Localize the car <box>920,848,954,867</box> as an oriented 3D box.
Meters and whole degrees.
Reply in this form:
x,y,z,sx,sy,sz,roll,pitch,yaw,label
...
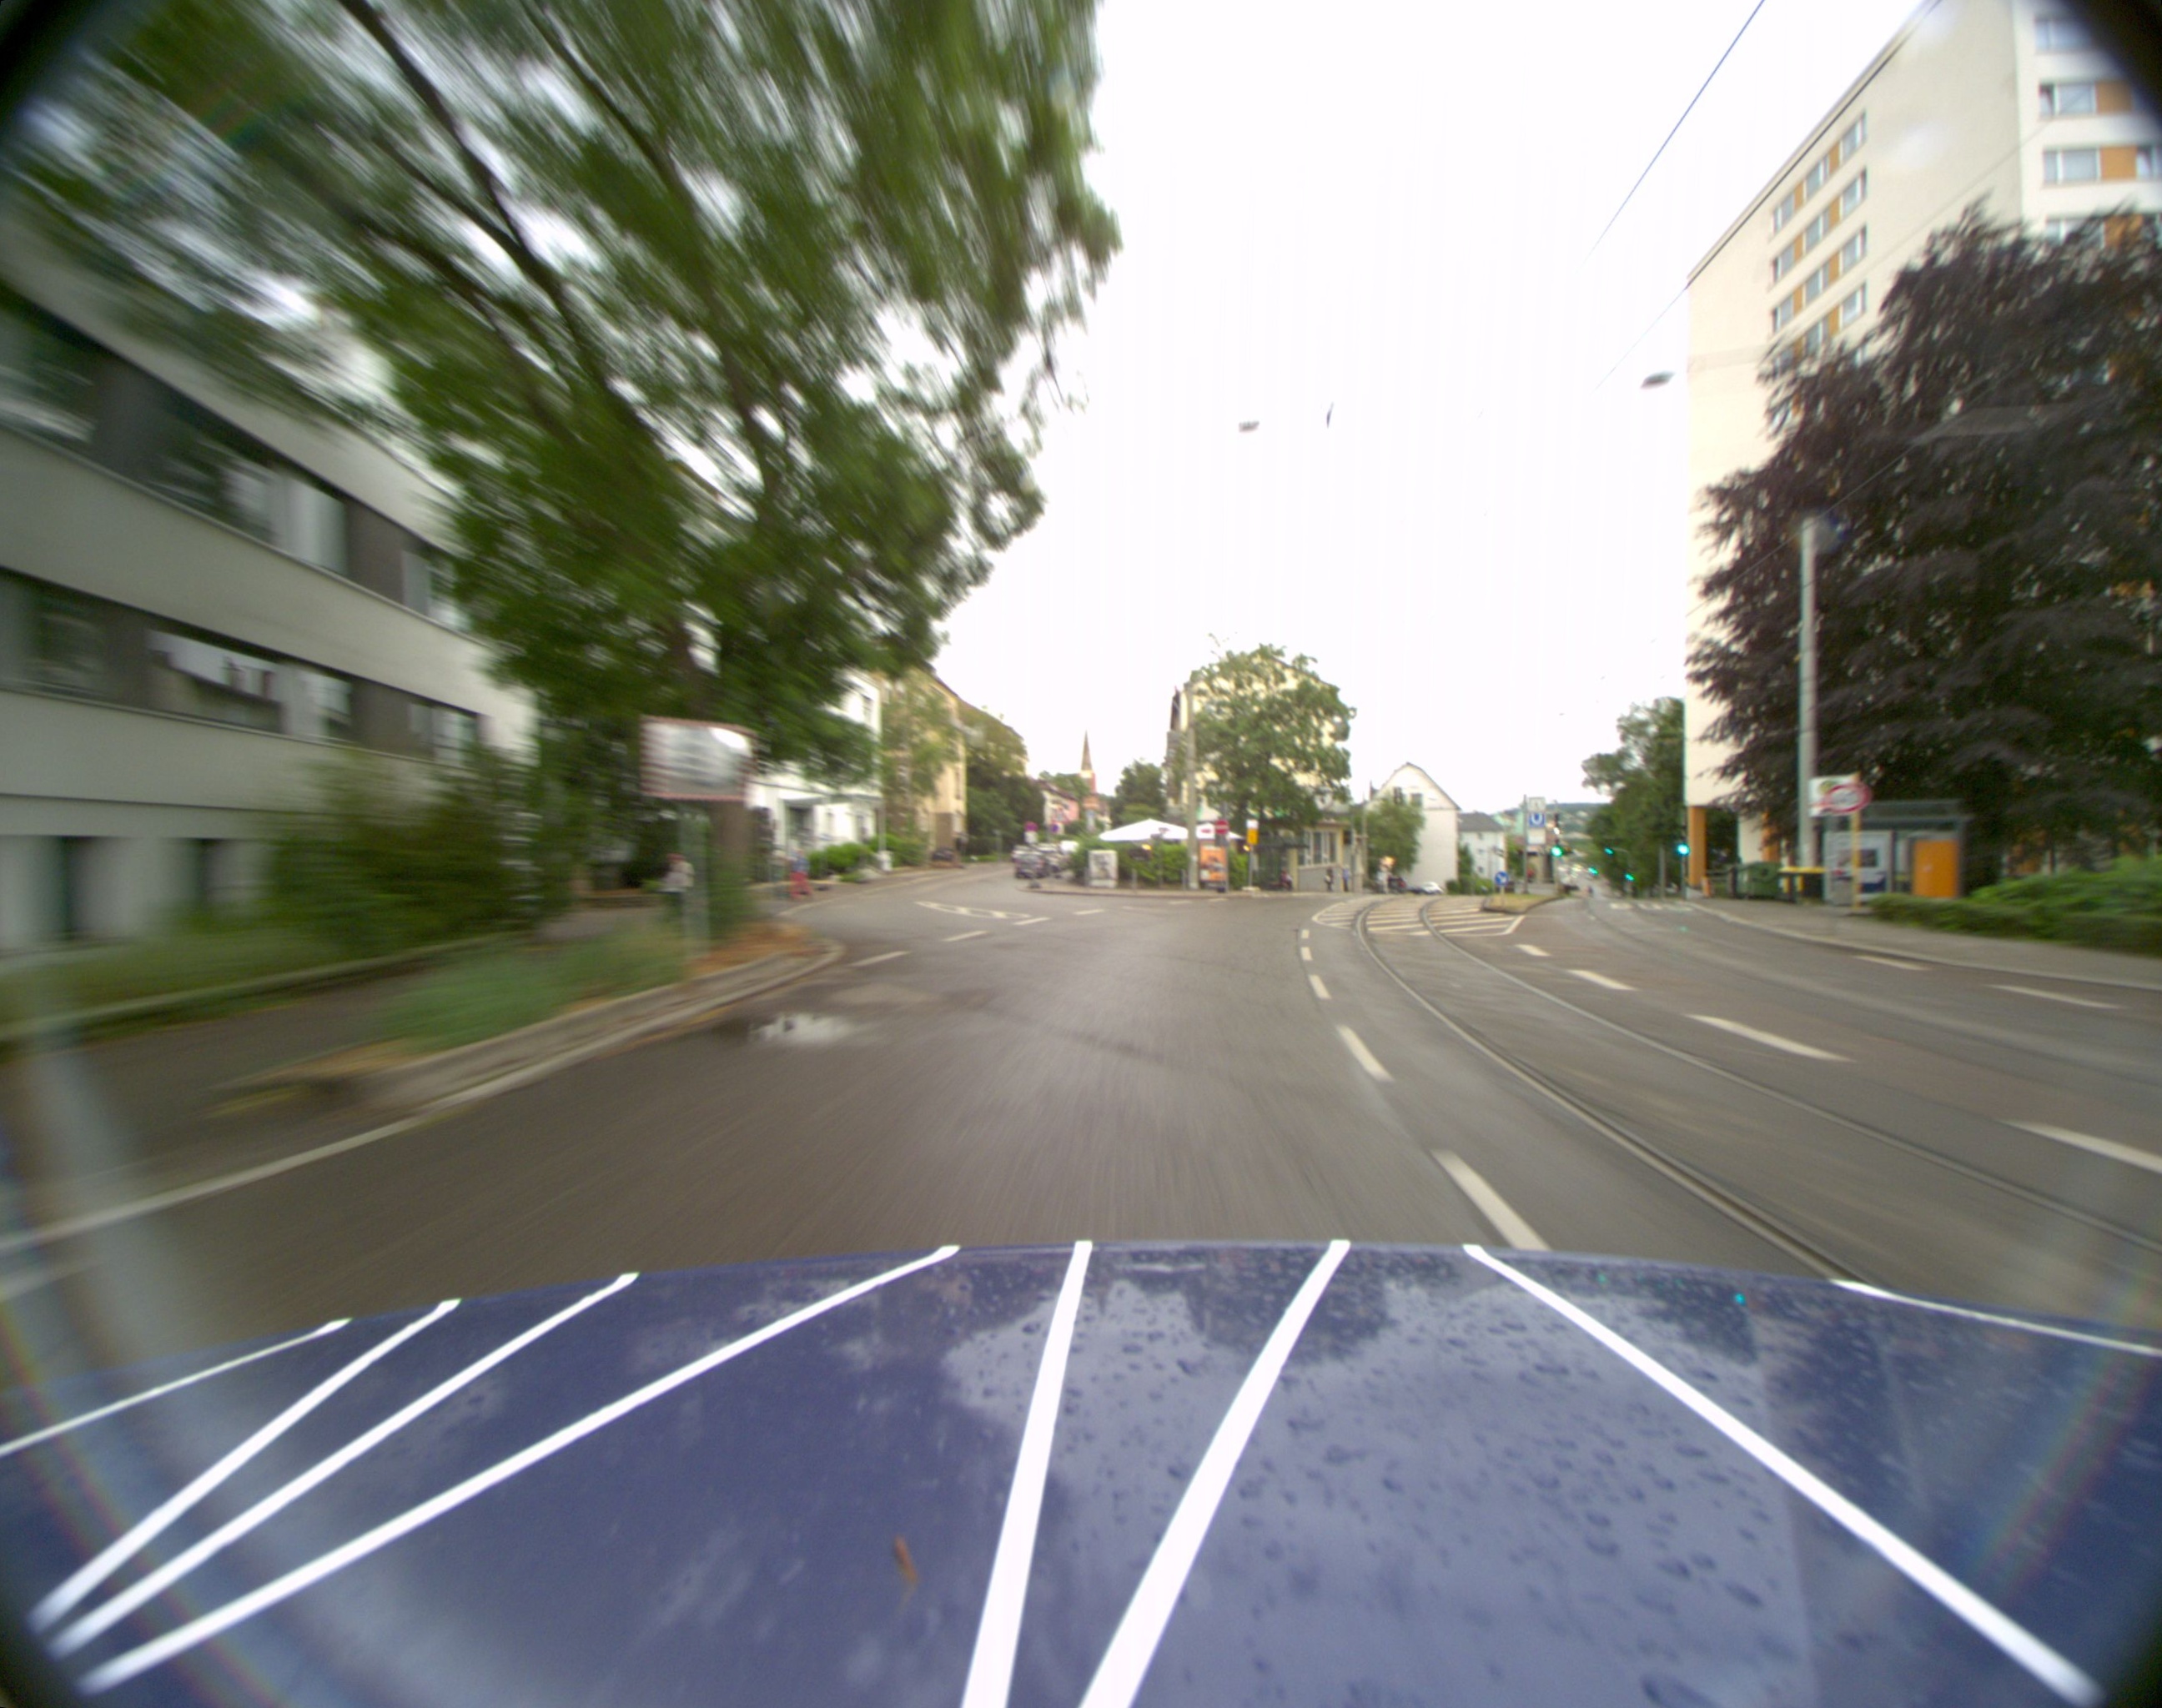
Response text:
x,y,z,sx,sy,sz,roll,pitch,yaw,label
-11.502,0.304,60.825,1.598,1.333,3.638,-1,-3,8,car

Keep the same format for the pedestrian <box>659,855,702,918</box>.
x,y,z,sx,sy,sz,roll,pitch,yaw,label
-11.088,0.907,21.077,0.745,1.689,0.673,3,-3,-5,pedestrian

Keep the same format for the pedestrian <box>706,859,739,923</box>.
x,y,z,sx,sy,sz,roll,pitch,yaw,label
-9.152,0.945,19.409,0.545,1.619,0.602,-1,-2,0,pedestrian

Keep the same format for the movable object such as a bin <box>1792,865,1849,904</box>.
x,y,z,sx,sy,sz,roll,pitch,yaw,label
22.640,0.937,23.285,1.021,1.131,1.346,-3,-3,35,movable object such as a bin

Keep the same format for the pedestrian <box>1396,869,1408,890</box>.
x,y,z,sx,sy,sz,roll,pitch,yaw,label
26.525,2.085,62.812,0.719,1.703,0.610,2,-1,42,pedestrian

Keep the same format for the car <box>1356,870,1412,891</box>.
x,y,z,sx,sy,sz,roll,pitch,yaw,label
27.693,2.396,69.501,4.329,1.664,1.785,3,-1,35,car

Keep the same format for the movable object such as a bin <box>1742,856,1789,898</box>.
x,y,z,sx,sy,sz,roll,pitch,yaw,label
24.096,0.811,26.790,1.021,1.424,1.431,-2,-3,35,movable object such as a bin

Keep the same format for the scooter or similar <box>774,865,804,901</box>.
x,y,z,sx,sy,sz,roll,pitch,yaw,label
-10.856,1.069,28.284,0.463,1.283,1.102,-1,3,10,scooter or similar

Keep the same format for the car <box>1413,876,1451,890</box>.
x,y,z,sx,sy,sz,roll,pitch,yaw,label
41.766,3.389,90.467,3.989,1.459,1.819,0,4,29,car

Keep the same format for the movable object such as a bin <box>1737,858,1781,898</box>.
x,y,z,sx,sy,sz,roll,pitch,yaw,label
25.168,0.907,28.242,1.021,1.424,1.448,-2,-3,35,movable object such as a bin

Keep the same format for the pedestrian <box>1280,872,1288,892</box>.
x,y,z,sx,sy,sz,roll,pitch,yaw,label
10.539,1.442,39.437,0.325,0.989,0.318,3,0,30,pedestrian

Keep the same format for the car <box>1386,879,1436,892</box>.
x,y,z,sx,sy,sz,roll,pitch,yaw,label
37.412,3.602,86.239,4.934,1.428,1.979,-3,-2,34,car

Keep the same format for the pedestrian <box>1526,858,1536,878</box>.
x,y,z,sx,sy,sz,roll,pitch,yaw,label
36.277,1.133,61.226,0.671,1.538,0.773,0,-2,33,pedestrian

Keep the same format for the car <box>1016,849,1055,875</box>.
x,y,z,sx,sy,sz,roll,pitch,yaw,label
-2.646,0.455,44.726,1.692,1.433,3.806,0,0,5,car

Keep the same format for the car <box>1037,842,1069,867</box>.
x,y,z,sx,sy,sz,roll,pitch,yaw,label
-1.845,0.022,51.765,1.692,1.680,3.806,0,0,5,car

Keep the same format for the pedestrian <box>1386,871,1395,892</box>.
x,y,z,sx,sy,sz,roll,pitch,yaw,label
24.698,2.203,60.616,0.579,1.703,0.615,-2,-3,30,pedestrian

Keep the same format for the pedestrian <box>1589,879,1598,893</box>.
x,y,z,sx,sy,sz,roll,pitch,yaw,label
59.831,3.738,88.712,0.753,1.583,0.619,-2,-3,36,pedestrian

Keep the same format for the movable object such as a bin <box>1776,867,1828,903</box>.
x,y,z,sx,sy,sz,roll,pitch,yaw,label
23.642,1.027,24.954,1.021,1.131,1.346,-3,-3,35,movable object such as a bin

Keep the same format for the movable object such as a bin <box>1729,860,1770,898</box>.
x,y,z,sx,sy,sz,roll,pitch,yaw,label
26.040,0.977,29.624,1.021,1.424,1.358,-2,-3,35,movable object such as a bin

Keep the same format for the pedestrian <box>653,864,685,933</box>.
x,y,z,sx,sy,sz,roll,pitch,yaw,label
-9.205,0.988,16.966,0.537,1.498,0.386,1,1,26,pedestrian

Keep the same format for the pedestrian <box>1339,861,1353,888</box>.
x,y,z,sx,sy,sz,roll,pitch,yaw,label
15.582,1.200,44.746,0.588,1.544,0.651,2,-1,33,pedestrian

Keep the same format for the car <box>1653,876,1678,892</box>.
x,y,z,sx,sy,sz,roll,pitch,yaw,label
62.801,3.240,81.649,1.747,1.706,4.452,0,-2,32,car

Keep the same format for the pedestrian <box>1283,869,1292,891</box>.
x,y,z,sx,sy,sz,roll,pitch,yaw,label
10.799,1.358,39.750,0.325,1.144,0.318,3,0,30,pedestrian

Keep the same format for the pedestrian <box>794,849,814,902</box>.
x,y,z,sx,sy,sz,roll,pitch,yaw,label
-10.180,0.770,27.918,0.543,1.912,0.916,0,1,-13,pedestrian

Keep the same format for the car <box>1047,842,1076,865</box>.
x,y,z,sx,sy,sz,roll,pitch,yaw,label
-1.430,-0.033,56.596,1.692,1.680,3.806,0,0,5,car

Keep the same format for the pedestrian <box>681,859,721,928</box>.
x,y,z,sx,sy,sz,roll,pitch,yaw,label
-8.740,0.904,17.492,0.600,1.556,0.547,-2,-2,24,pedestrian

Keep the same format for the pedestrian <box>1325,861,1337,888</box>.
x,y,z,sx,sy,sz,roll,pitch,yaw,label
14.871,1.233,45.183,0.546,1.544,0.560,2,-1,31,pedestrian
